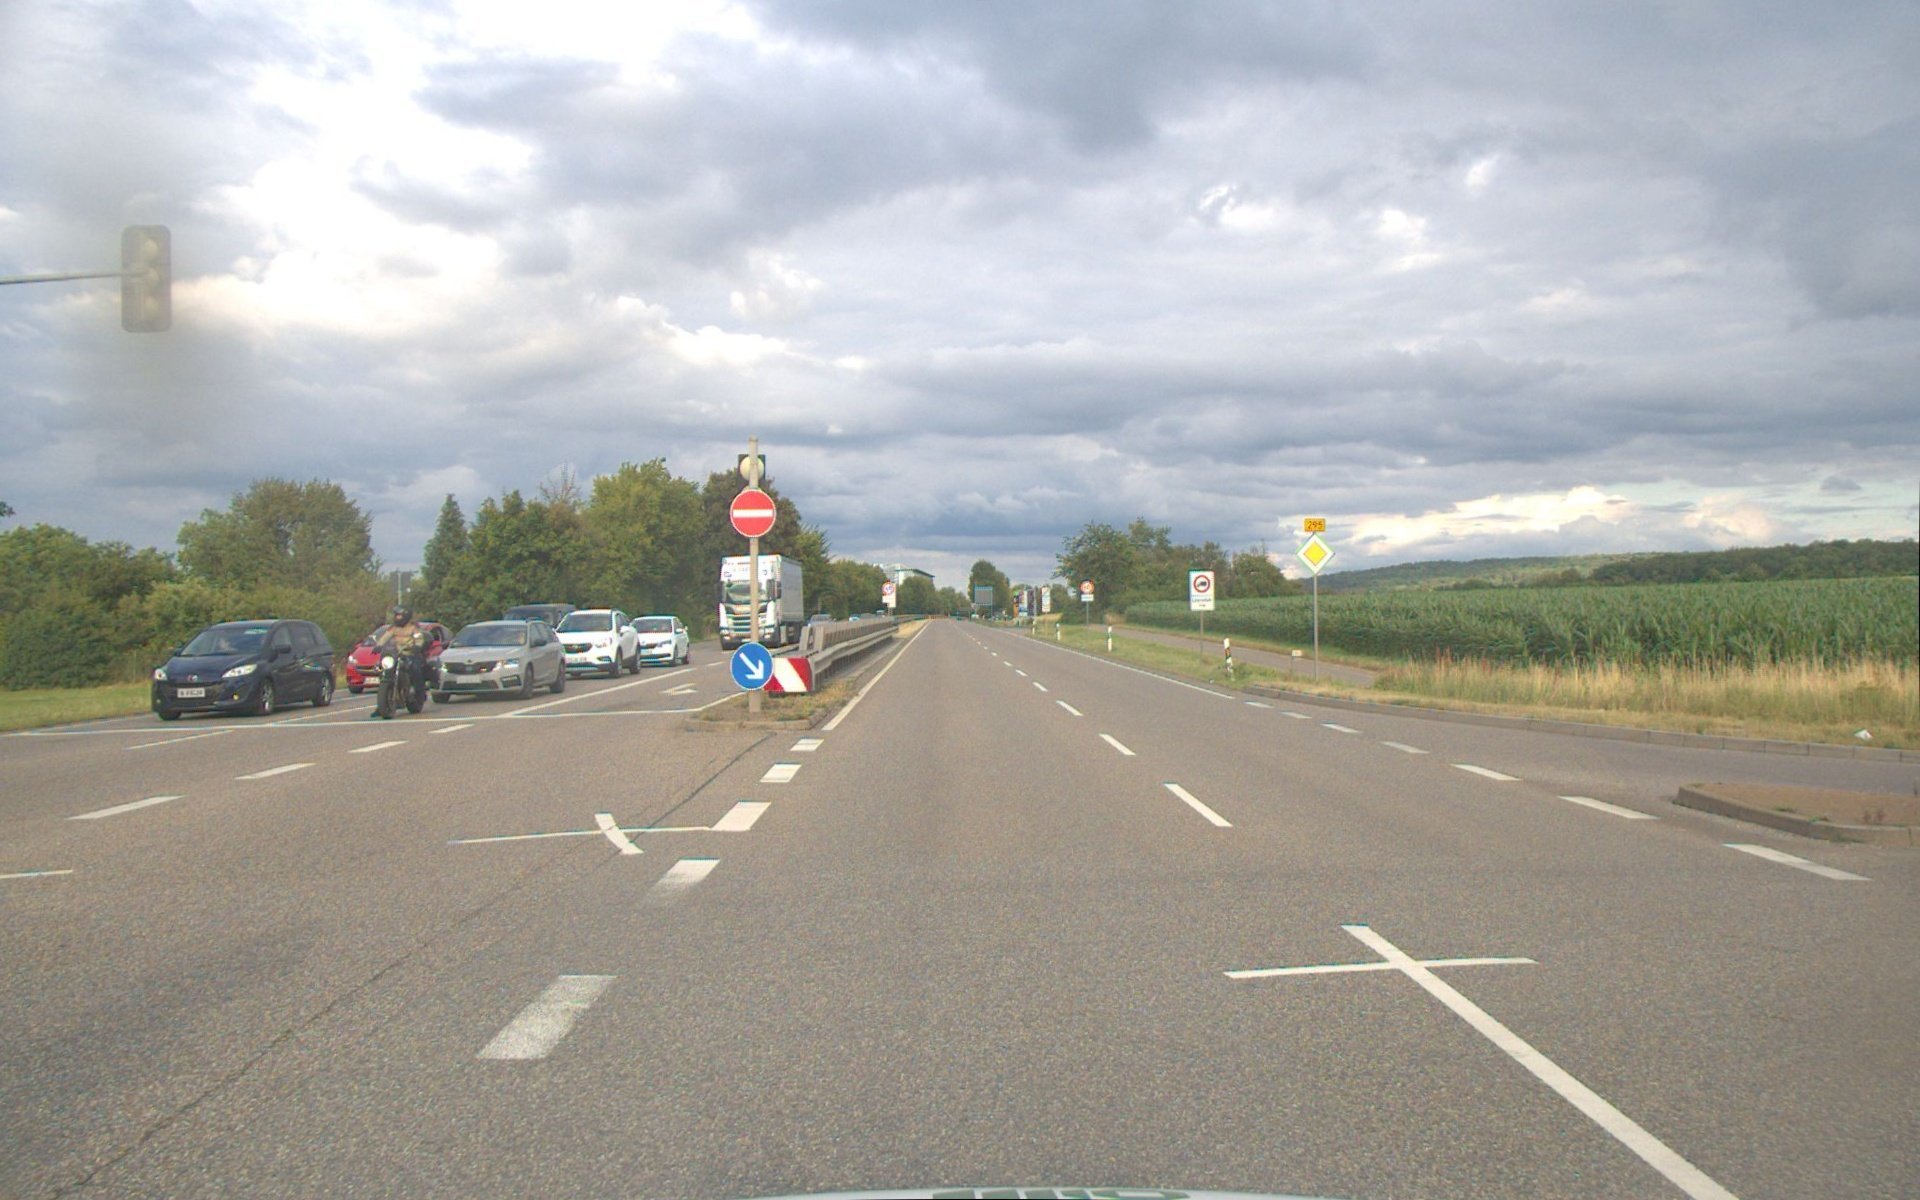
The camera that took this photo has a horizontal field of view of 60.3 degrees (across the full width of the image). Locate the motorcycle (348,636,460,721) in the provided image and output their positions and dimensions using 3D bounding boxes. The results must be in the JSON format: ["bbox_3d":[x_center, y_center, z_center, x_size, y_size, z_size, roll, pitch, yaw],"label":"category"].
[{"bbox_3d":[-8.691,1.206,25.978,0.897,1.224,2.478,-2,-1,0],"label":"motorcycle"}]

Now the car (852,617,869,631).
[{"bbox_3d":[-11.785,2.825,195.722,1.829,1.503,4.824,-1,0,-1],"label":"car"}]

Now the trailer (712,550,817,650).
[{"bbox_3d":[-9.099,0.040,78.943,3.395,4.223,13.913,-2,0,-1],"label":"trailer"}]

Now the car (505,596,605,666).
[{"bbox_3d":[-12.837,0.971,52.713,1.953,2.049,4.946,-2,-1,0],"label":"car"}]

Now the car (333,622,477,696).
[{"bbox_3d":[-12.391,1.288,37.191,1.869,1.490,4.183,-1,0,-1],"label":"car"}]

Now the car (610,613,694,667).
[{"bbox_3d":[-9.043,1.155,48.902,1.752,1.470,4.159,-1,0,-1],"label":"car"}]

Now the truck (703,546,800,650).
[{"bbox_3d":[-9.018,-0.046,72.388,3.404,4.223,6.048,-2,-1,-1],"label":"truck"}]

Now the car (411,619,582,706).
[{"bbox_3d":[-8.699,1.119,31.532,1.869,1.453,5.151,-1,0,-1],"label":"car"}]

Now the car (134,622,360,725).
[{"bbox_3d":[-12.298,1.214,28.929,1.869,1.562,4.937,-1,0,-1],"label":"car"}]

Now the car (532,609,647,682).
[{"bbox_3d":[-9.014,1.071,40.616,1.869,1.638,4.404,-1,0,-1],"label":"car"}]

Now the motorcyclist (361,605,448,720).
[{"bbox_3d":[-8.687,0.963,25.911,0.897,1.738,1.275,-2,-1,-1],"label":"motorcyclist"}]

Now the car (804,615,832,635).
[{"bbox_3d":[-10.660,1.871,124.418,1.752,1.410,4.159,-1,0,-1],"label":"car"}]
